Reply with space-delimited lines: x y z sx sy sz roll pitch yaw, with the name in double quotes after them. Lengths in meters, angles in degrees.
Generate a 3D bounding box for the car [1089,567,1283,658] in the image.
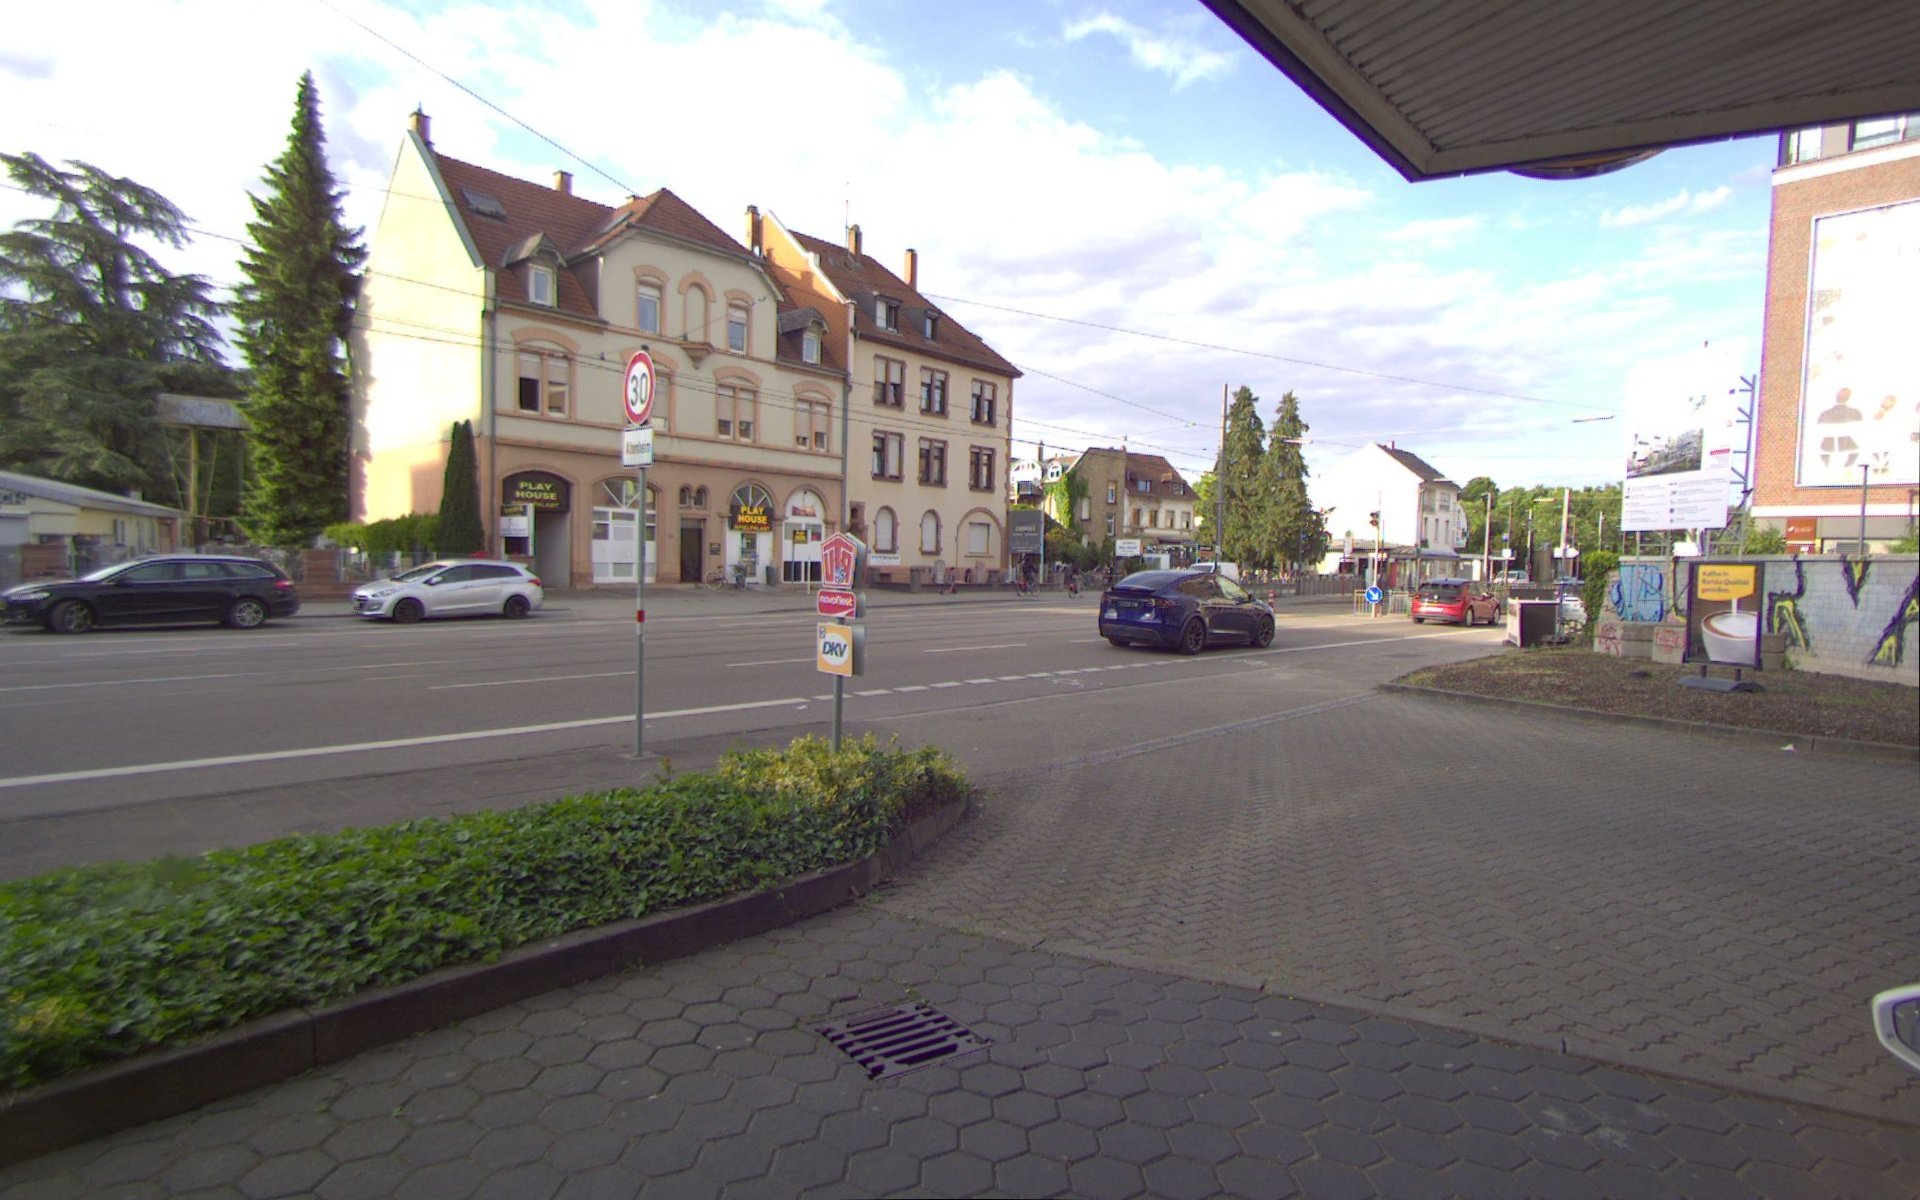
4.940 0.214 21.476 1.746 1.679 4.821 5 4 44 "car"

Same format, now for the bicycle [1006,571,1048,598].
3.191 -0.739 47.957 1.891 1.219 0.836 0 6 -42 "bicycle"

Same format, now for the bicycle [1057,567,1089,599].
5.566 -0.841 49.382 0.775 1.512 1.987 5 4 30 "bicycle"

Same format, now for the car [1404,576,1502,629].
16.600 0.052 33.746 1.745 1.564 4.106 5 4 43 "car"

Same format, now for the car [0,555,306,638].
-16.579 -0.144 20.731 1.970 1.516 4.801 3 3 40 "car"

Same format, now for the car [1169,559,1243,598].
12.902 -1.112 52.525 1.940 1.915 4.388 4 3 41 "car"

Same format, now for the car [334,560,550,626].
-13.010 -0.241 25.464 1.970 1.495 4.467 3 3 40 "car"

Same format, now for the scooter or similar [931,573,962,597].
-0.606 -0.684 45.135 0.488 1.015 1.592 5 5 39 "scooter or similar"

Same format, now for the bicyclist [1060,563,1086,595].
5.553 -1.042 49.333 0.775 1.512 1.093 5 4 31 "bicyclist"

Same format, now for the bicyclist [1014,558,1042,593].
3.244 -1.150 47.956 0.957 1.579 0.836 0 6 -41 "bicyclist"

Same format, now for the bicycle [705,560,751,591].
-9.151 -0.950 39.708 0.508 1.189 1.809 4 2 40 "bicycle"

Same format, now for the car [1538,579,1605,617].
27.237 -0.124 44.686 1.707 1.564 3.976 5 4 43 "car"

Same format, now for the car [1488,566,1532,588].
50.381 -2.102 91.964 4.850 1.995 1.976 -1 3 -41 "car"
